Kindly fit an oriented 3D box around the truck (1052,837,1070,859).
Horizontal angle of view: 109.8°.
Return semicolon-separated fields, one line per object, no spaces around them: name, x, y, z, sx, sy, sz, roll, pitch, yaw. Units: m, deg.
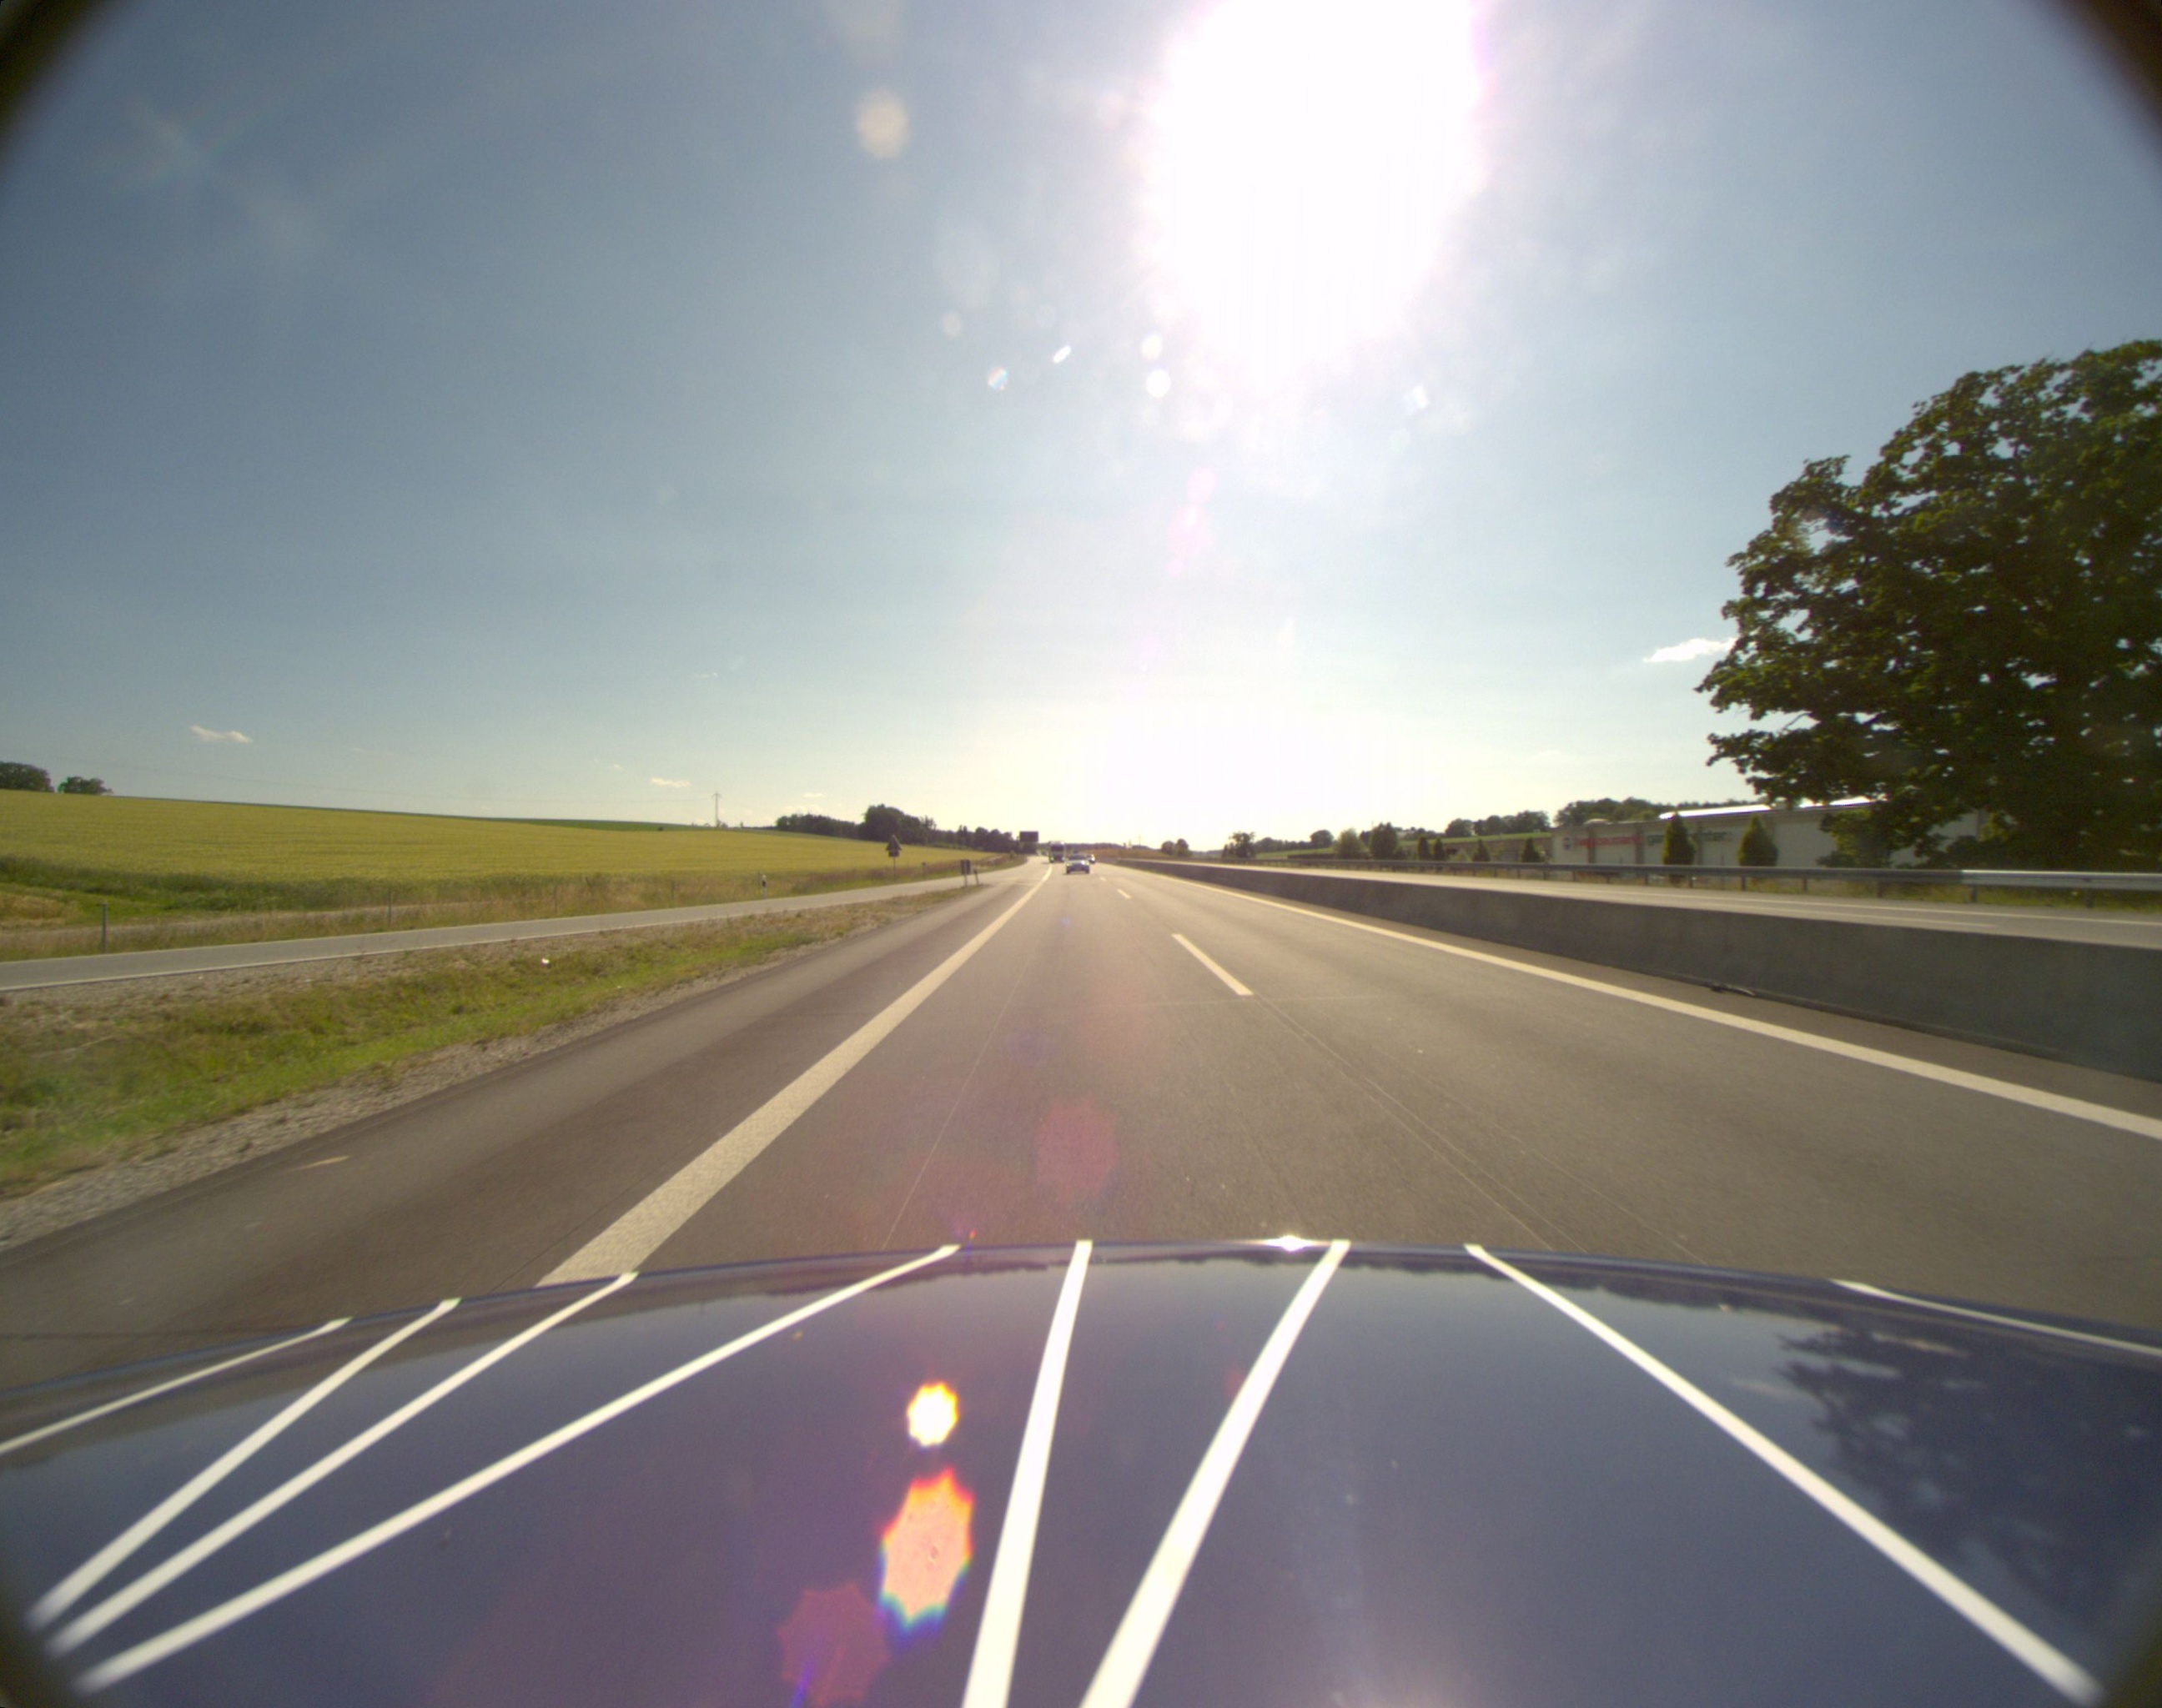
truck;-3.689;-1.054;136.522;3.091;3.991;6.186;0;0;-3

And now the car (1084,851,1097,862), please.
car;1.416;0.354;115.207;1.900;1.560;3.999;-2;0;0

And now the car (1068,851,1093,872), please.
car;-0.017;0.558;60.766;1.891;1.565;3.792;-1;0;1
